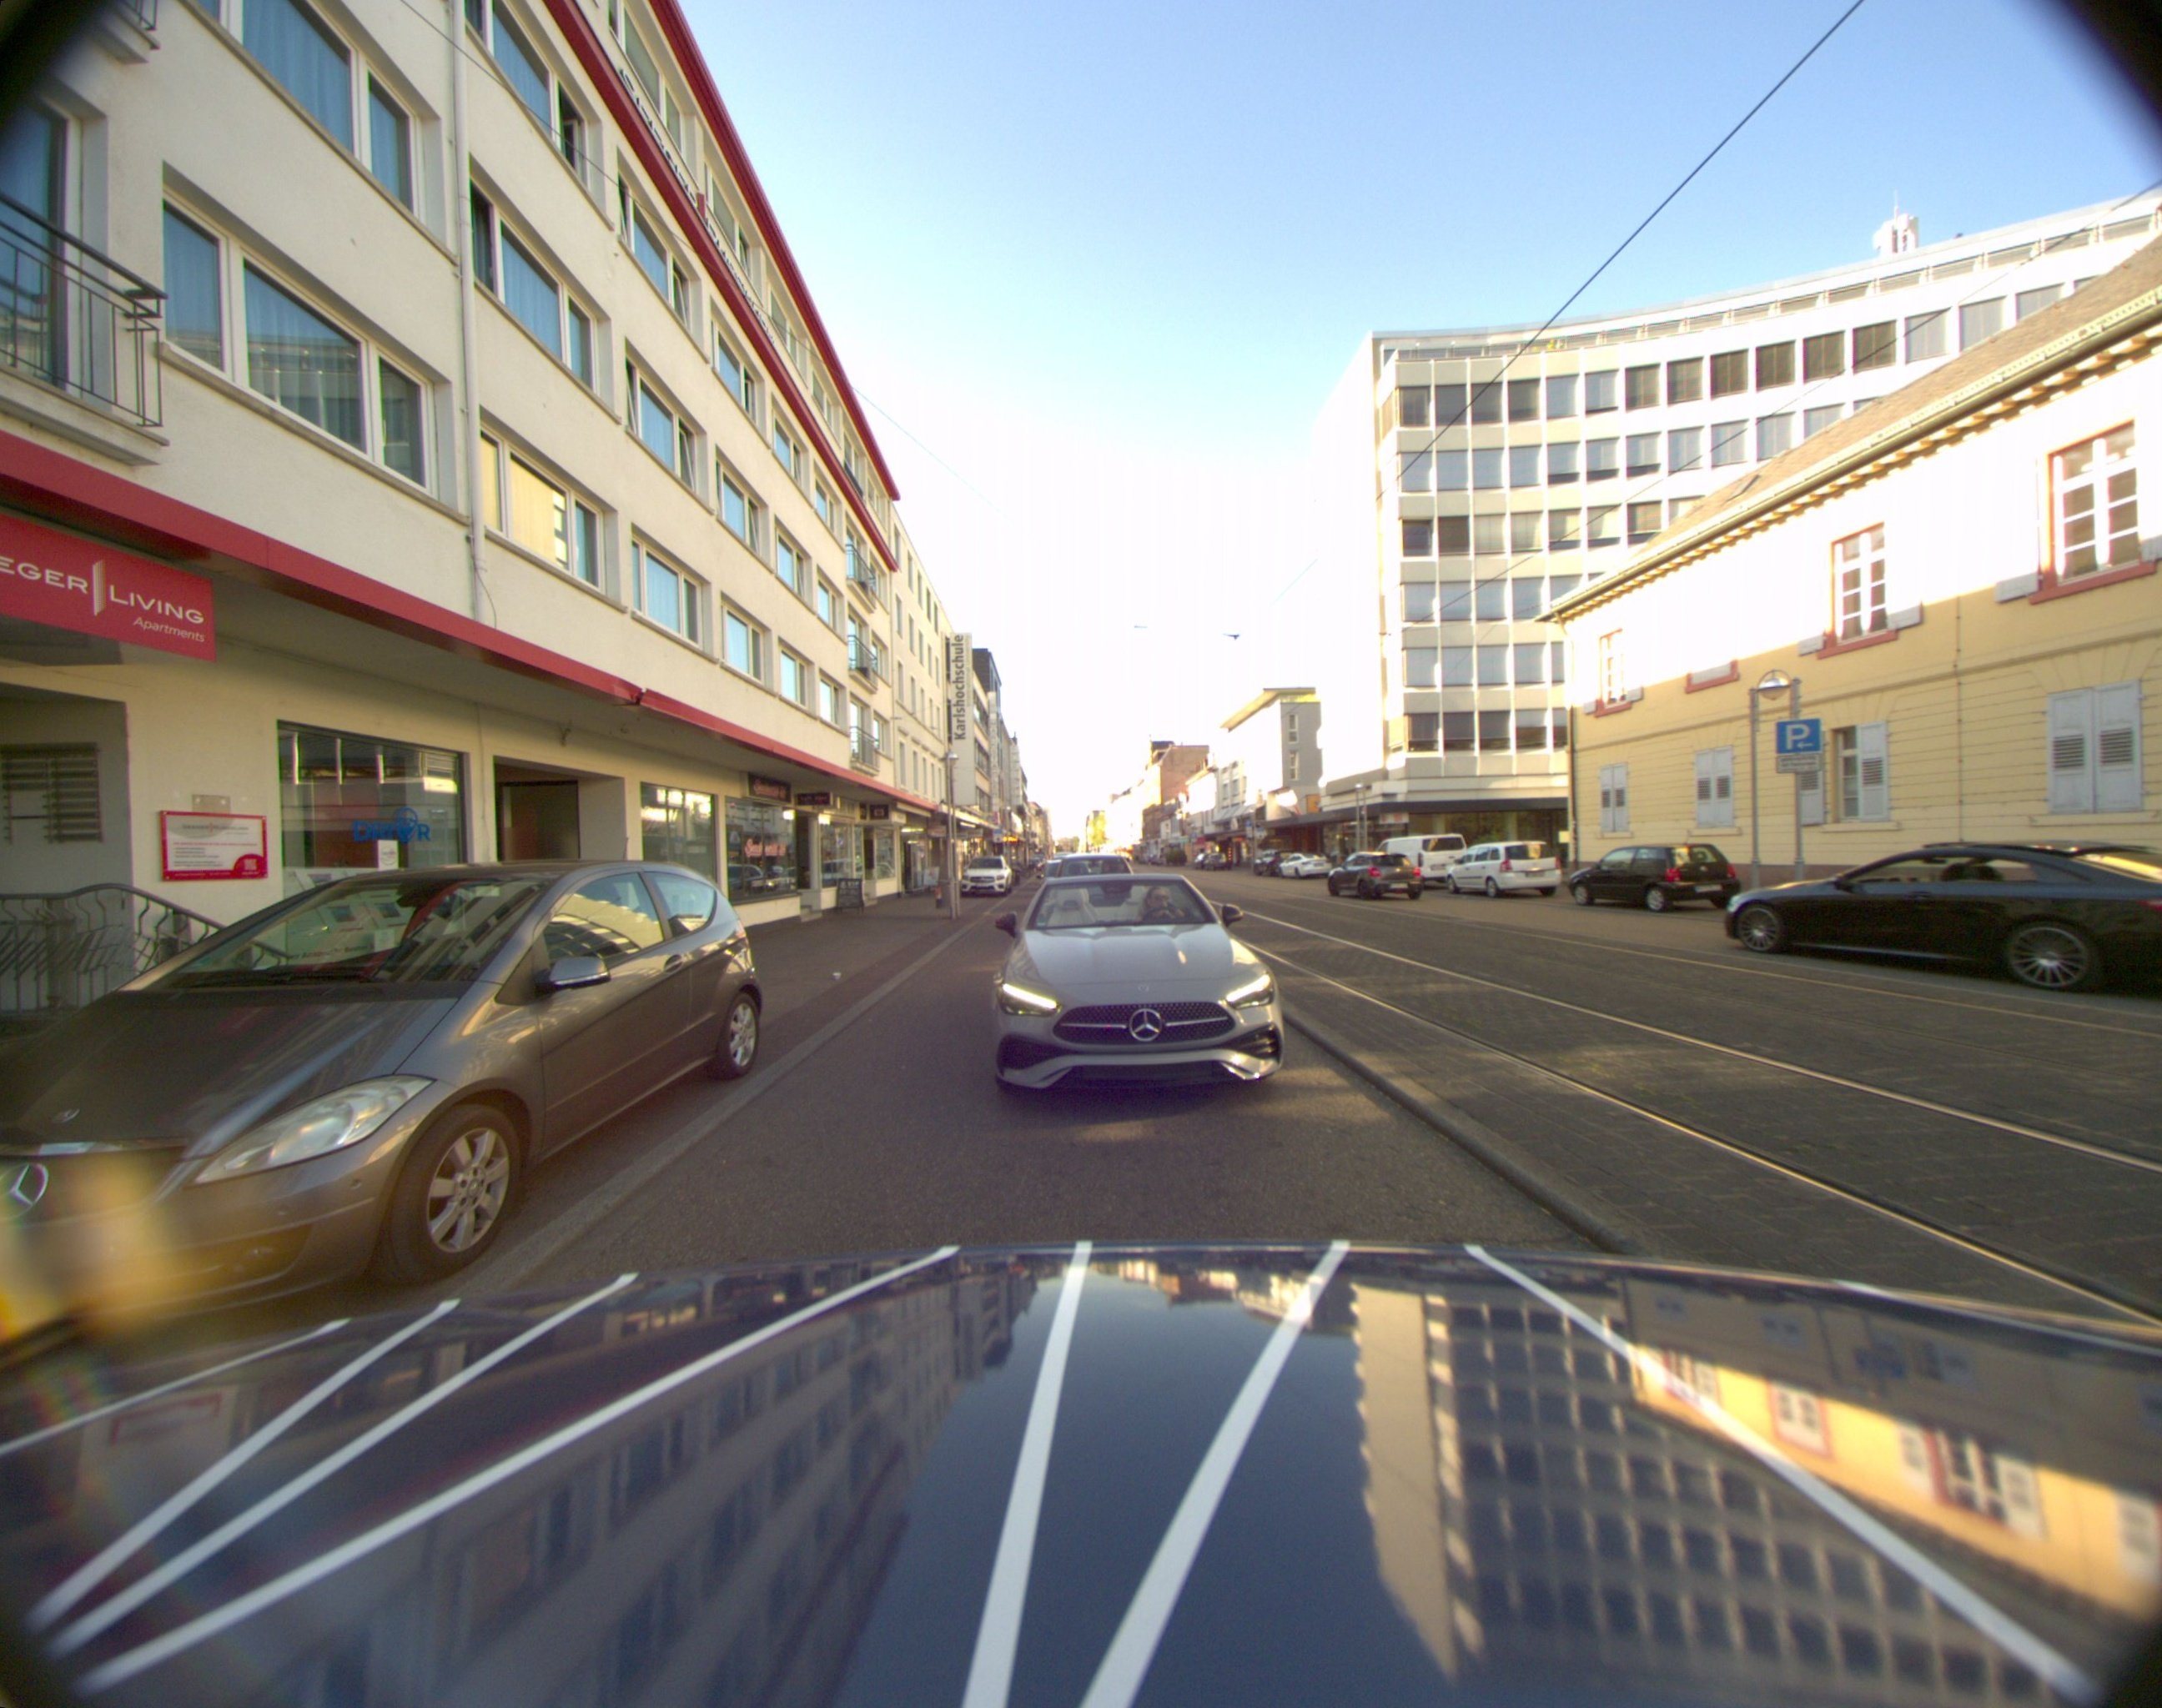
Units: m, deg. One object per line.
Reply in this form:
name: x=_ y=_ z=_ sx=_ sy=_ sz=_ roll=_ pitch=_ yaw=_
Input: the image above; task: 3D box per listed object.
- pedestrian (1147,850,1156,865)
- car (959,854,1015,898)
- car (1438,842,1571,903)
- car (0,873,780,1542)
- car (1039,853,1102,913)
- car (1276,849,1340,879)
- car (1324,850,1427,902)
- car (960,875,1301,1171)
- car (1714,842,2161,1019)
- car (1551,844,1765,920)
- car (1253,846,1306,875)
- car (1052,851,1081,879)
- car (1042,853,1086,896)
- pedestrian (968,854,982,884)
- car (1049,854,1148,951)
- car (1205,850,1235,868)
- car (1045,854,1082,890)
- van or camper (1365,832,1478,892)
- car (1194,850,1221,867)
pedestrian: x=8.850 y=0.452 z=95.693 sx=1.009 sy=1.811 sz=1.033 roll=-2 pitch=1 yaw=8
car: x=-3.808 y=0.851 z=31.449 sx=1.783 sy=1.654 sz=4.162 roll=0 pitch=1 yaw=0
car: x=12.755 y=0.482 z=23.225 sx=1.781 sy=1.611 sz=4.175 roll=-3 pitch=1 yaw=2
car: x=-3.224 y=0.955 z=3.894 sx=1.781 sy=1.560 sz=3.960 roll=0 pitch=1 yaw=0
car: x=-0.323 y=0.832 z=23.659 sx=1.783 sy=1.654 sz=3.960 roll=0 pitch=1 yaw=0
car: x=12.504 y=0.501 z=42.189 sx=1.931 sy=1.444 sz=4.291 roll=-4 pitch=1 yaw=-5
car: x=9.245 y=0.645 z=24.172 sx=1.781 sy=1.500 sz=3.860 roll=-1 pitch=0 yaw=0
car: x=0.264 y=0.994 z=6.568 sx=1.869 sy=1.431 sz=4.773 roll=0 pitch=1 yaw=0
car: x=9.912 y=0.639 z=8.353 sx=1.782 sy=1.500 sz=4.667 roll=-1 pitch=0 yaw=-5
car: x=12.849 y=0.538 z=17.282 sx=1.781 sy=1.431 sz=3.960 roll=-3 pitch=1 yaw=0
car: x=12.378 y=0.387 z=47.578 sx=1.931 sy=1.632 sz=4.280 roll=-4 pitch=1 yaw=-3
car: x=-0.862 y=0.639 z=46.540 sx=1.737 sy=1.654 sz=3.960 roll=0 pitch=1 yaw=0
car: x=-0.676 y=0.808 z=32.059 sx=1.737 sy=1.654 sz=3.960 roll=0 pitch=1 yaw=0
pedestrian: x=-6.709 y=0.939 z=48.156 sx=0.706 sy=1.807 sz=0.807 roll=-2 pitch=1 yaw=-3
car: x=0.297 y=0.853 z=15.296 sx=1.737 sy=1.654 sz=3.960 roll=0 pitch=1 yaw=0
car: x=11.945 y=0.388 z=65.477 sx=1.786 sy=1.408 sz=3.596 roll=-2 pitch=1 yaw=-2
car: x=-0.831 y=0.846 z=37.462 sx=1.737 sy=1.654 sz=3.781 roll=0 pitch=1 yaw=0
van or camper: x=12.718 y=0.246 z=28.765 sx=1.960 sy=1.962 sz=4.796 roll=-3 pitch=1 yaw=-2
car: x=11.806 y=0.398 z=70.999 sx=1.786 sy=1.511 sz=3.832 roll=-2 pitch=1 yaw=-1
